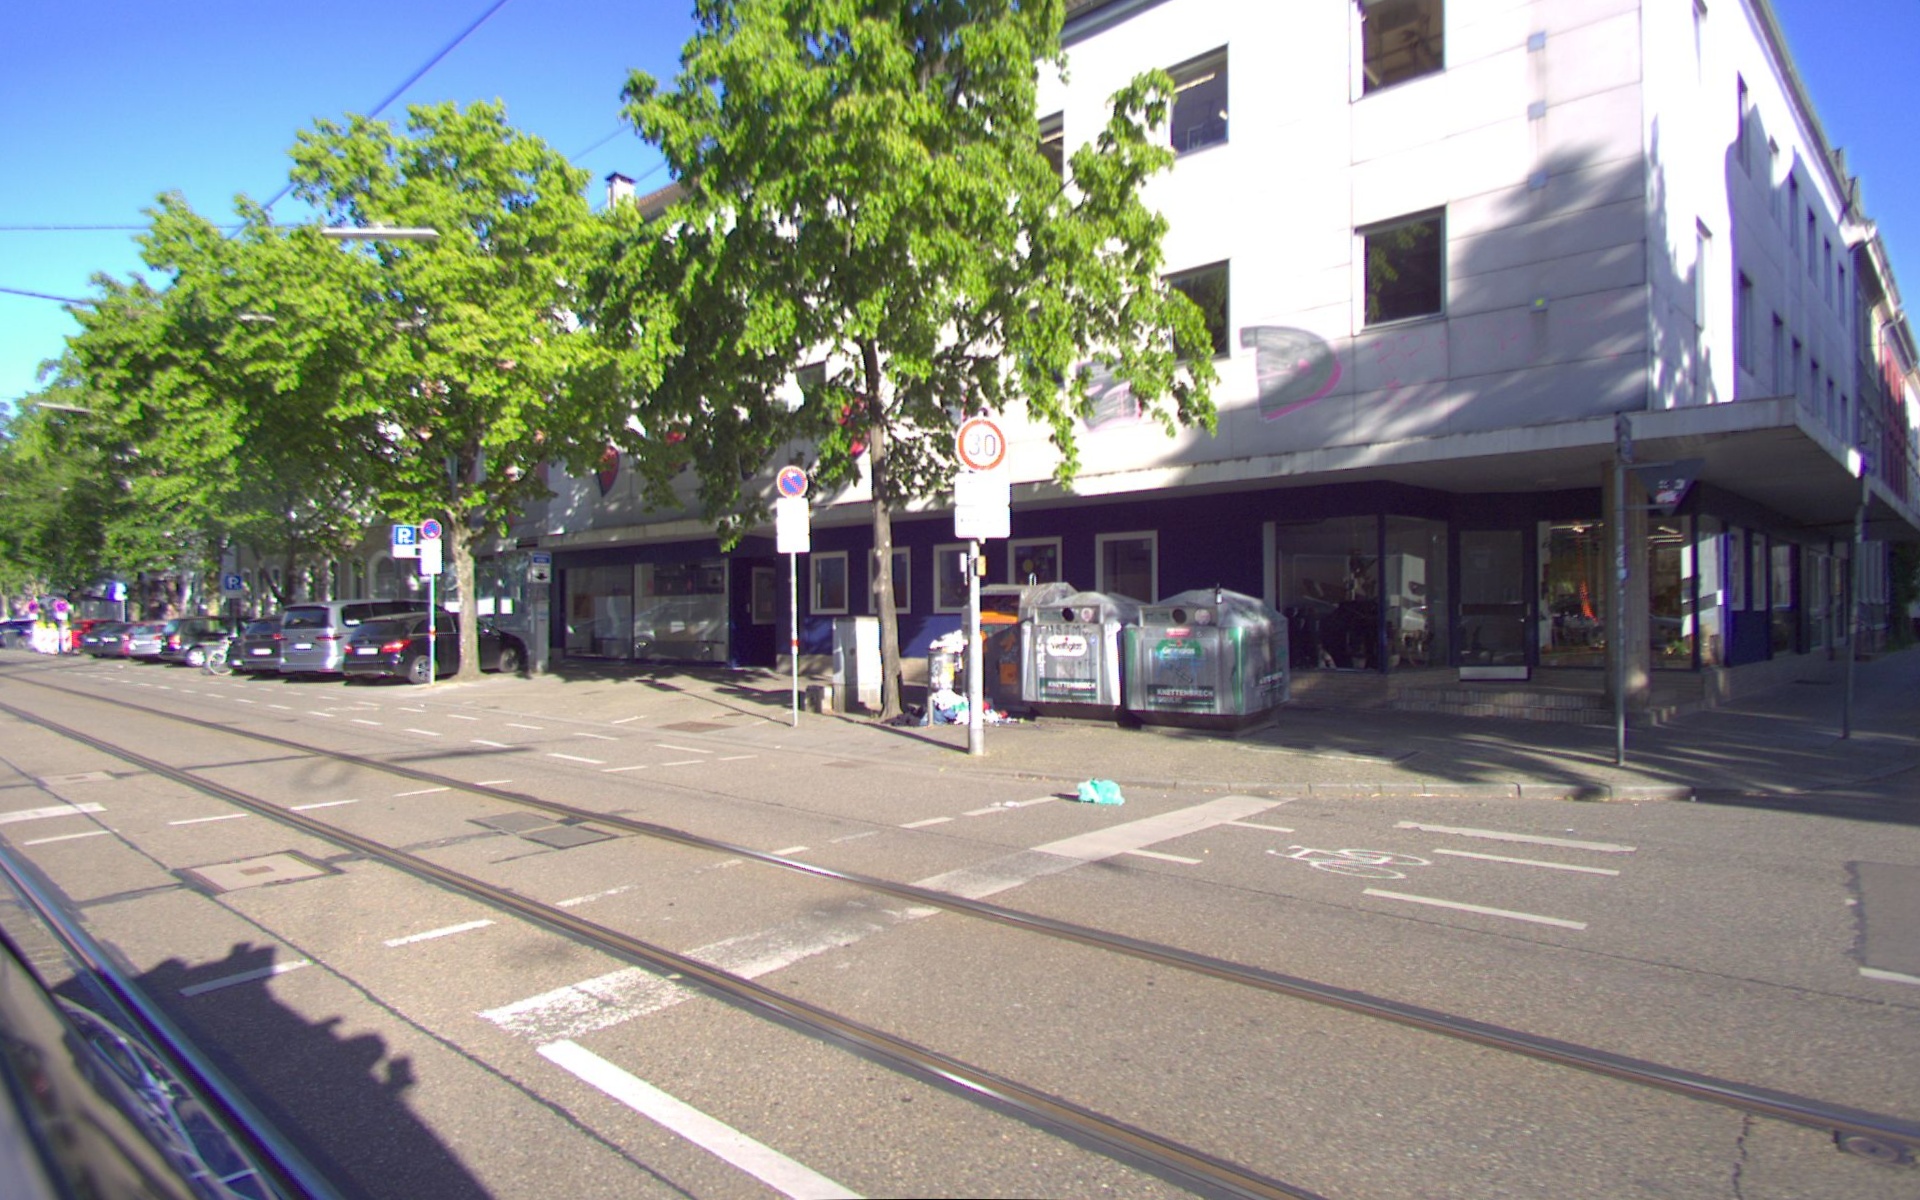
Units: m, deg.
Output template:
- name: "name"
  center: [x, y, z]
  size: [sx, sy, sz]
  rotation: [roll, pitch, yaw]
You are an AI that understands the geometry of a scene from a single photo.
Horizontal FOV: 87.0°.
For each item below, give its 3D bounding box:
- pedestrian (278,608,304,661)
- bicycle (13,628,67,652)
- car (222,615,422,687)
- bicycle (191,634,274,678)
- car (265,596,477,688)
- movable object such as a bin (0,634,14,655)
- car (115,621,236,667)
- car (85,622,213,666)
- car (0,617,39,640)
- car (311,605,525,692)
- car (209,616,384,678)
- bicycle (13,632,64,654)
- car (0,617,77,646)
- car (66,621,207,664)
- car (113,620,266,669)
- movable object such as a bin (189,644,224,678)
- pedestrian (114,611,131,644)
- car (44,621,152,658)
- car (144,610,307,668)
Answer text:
- name: "pedestrian"
  center: [-26.032, 1.346, 39.396]
  size: [0.556, 2.029, 0.723]
  rotation: [-2, -2, 41]
- name: "bicycle"
  center: [-48.371, 2.081, 53.224]
  size: [0.567, 1.095, 1.982]
  rotation: [-2, 3, 42]
- name: "car"
  center: [-16.428, 1.261, 26.307]
  size: [1.797, 1.698, 4.221]
  rotation: [-1, -1, 19]
- name: "bicycle"
  center: [-20.604, 1.571, 28.719]
  size: [0.489, 1.153, 1.957]
  rotation: [-1, -1, 22]
- name: "car"
  center: [-14.366, 0.949, 24.996]
  size: [1.934, 2.001, 4.342]
  rotation: [-1, 1, 18]
- name: "movable object such as a bin"
  center: [-51.696, 2.390, 54.737]
  size: [0.709, 1.086, 0.676]
  rotation: [-2, 1, 42]
- name: "car"
  center: [-29.441, 1.627, 38.079]
  size: [1.596, 1.504, 3.361]
  rotation: [-2, 0, 12]
- name: "car"
  center: [-31.807, 1.698, 39.828]
  size: [1.735, 1.481, 3.671]
  rotation: [-1, 1, 11]
- name: "car"
  center: [-66.010, 1.964, 69.481]
  size: [1.873, 1.541, 3.623]
  rotation: [-1, -1, 20]
- name: "car"
  center: [-12.319, 1.034, 23.363]
  size: [1.895, 1.679, 4.274]
  rotation: [-1, 1, 16]
- name: "car"
  center: [-18.657, 1.282, 28.642]
  size: [1.828, 1.487, 3.846]
  rotation: [-1, 1, 18]
- name: "bicycle"
  center: [-49.315, 2.287, 54.156]
  size: [0.568, 1.087, 1.947]
  rotation: [-2, 1, 42]
- name: "car"
  center: [-55.027, 1.853, 59.932]
  size: [1.563, 1.621, 3.873]
  rotation: [-1, -1, 22]
- name: "car"
  center: [-33.723, 1.713, 41.584]
  size: [1.924, 1.502, 4.185]
  rotation: [-1, 0, 13]
- name: "car"
  center: [-27.346, 1.541, 36.105]
  size: [1.823, 1.524, 4.099]
  rotation: [-2, 0, 14]
- name: "movable object such as a bin"
  center: [-21.290, 1.719, 28.591]
  size: [0.572, 0.920, 0.572]
  rotation: [-2, 0, 24]
- name: "pedestrian"
  center: [-47.759, 1.572, 57.725]
  size: [0.624, 1.852, 0.636]
  rotation: [-2, -2, 42]
- name: "car"
  center: [-40.824, 1.841, 48.008]
  size: [1.652, 1.565, 3.609]
  rotation: [-3, 0, 14]
- name: "car"
  center: [-24.638, 1.260, 34.059]
  size: [1.838, 1.690, 4.065]
  rotation: [-1, 1, 38]
